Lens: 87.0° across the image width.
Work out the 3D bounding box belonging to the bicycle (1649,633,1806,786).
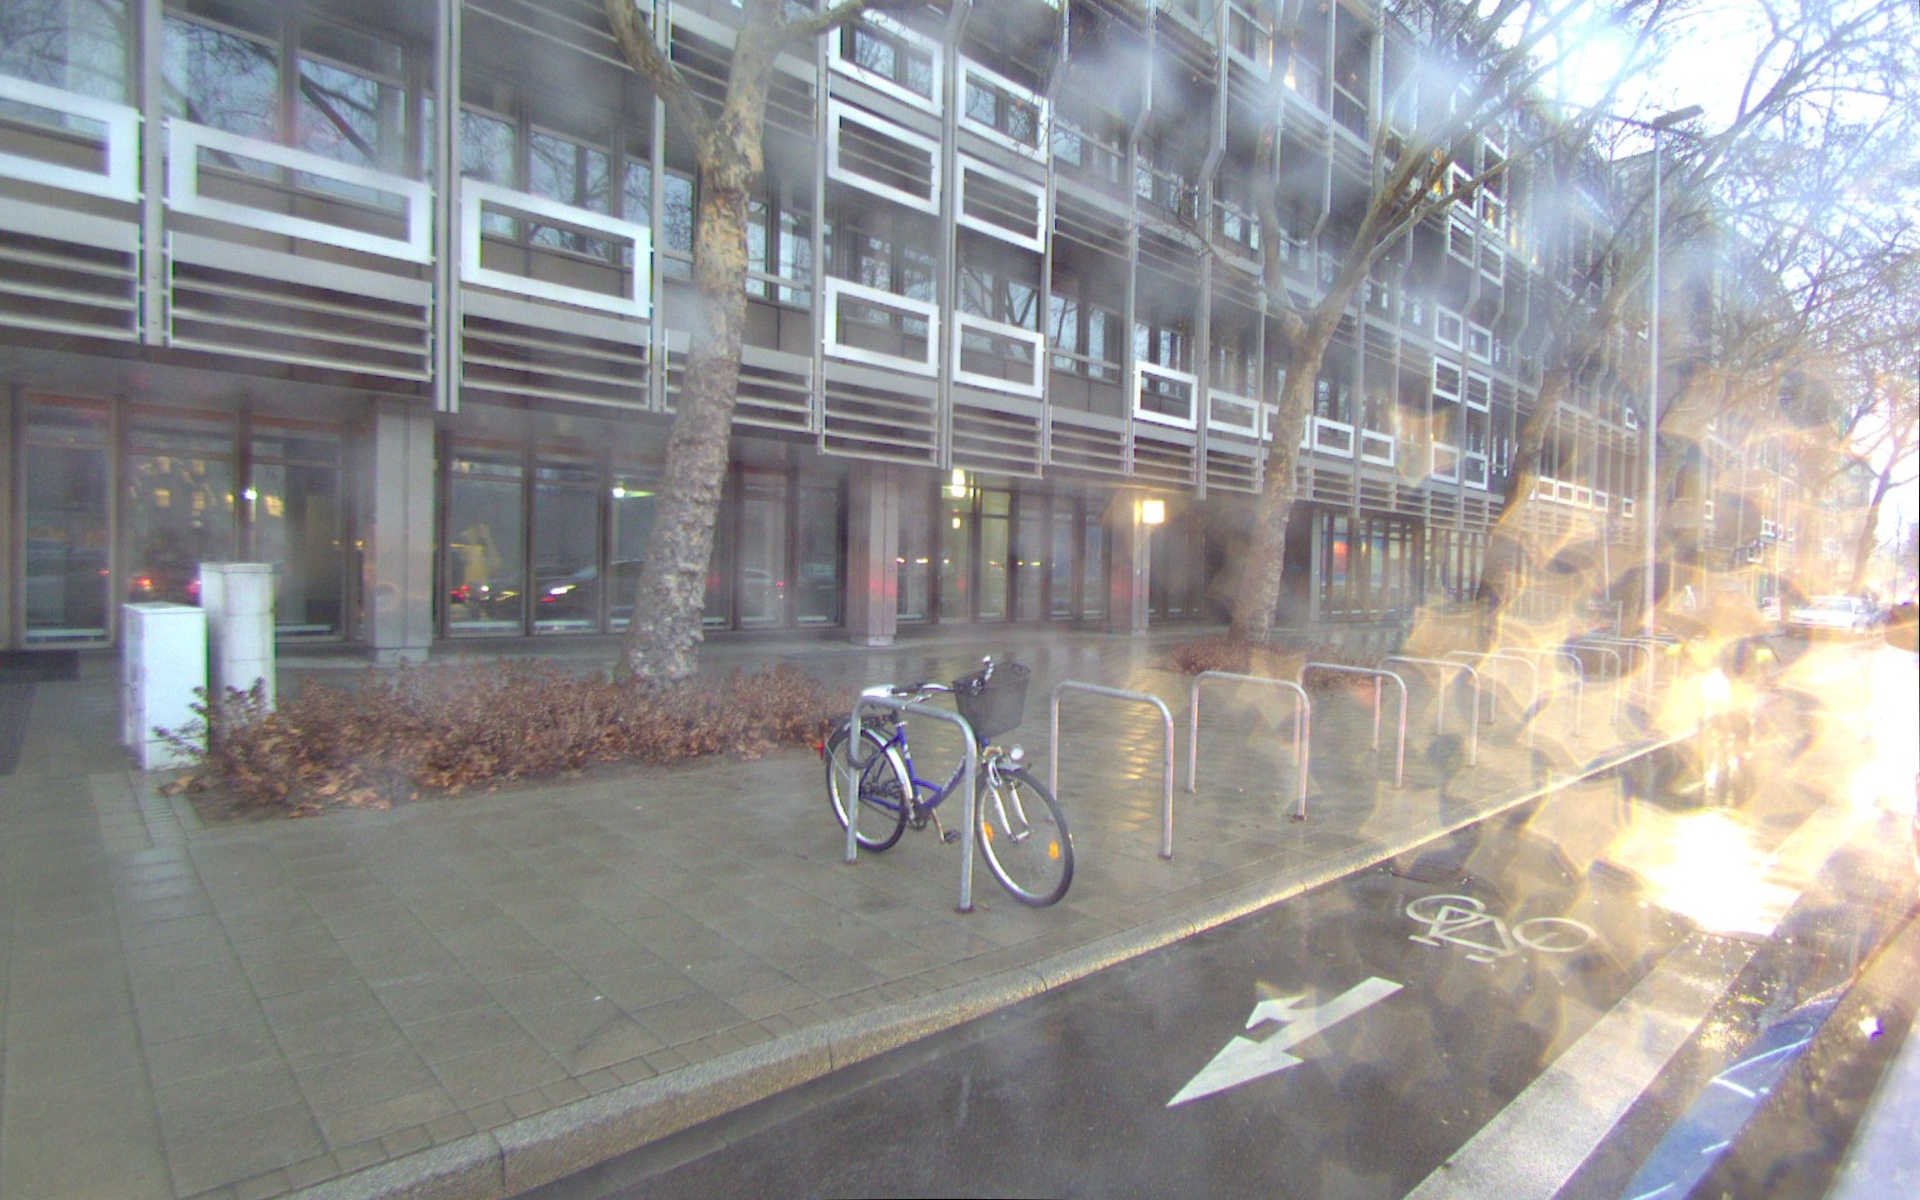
[{"bbox_3d":[6.511,0.862,8.553,1.752,1.108,0.709,1,0,-41],"label":"bicycle"}]

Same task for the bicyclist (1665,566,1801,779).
[{"bbox_3d":[6.536,0.564,8.558,0.947,1.681,0.704,1,1,-41],"label":"bicyclist"}]

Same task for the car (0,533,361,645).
[{"bbox_3d":[-10.701,-0.190,13.983,3.929,1.326,1.998,0,3,-40],"label":"car"}]

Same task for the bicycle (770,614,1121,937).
[{"bbox_3d":[-0.156,0.708,4.870,0.629,1.145,1.810,2,2,-41],"label":"bicycle"}]

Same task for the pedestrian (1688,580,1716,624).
[{"bbox_3d":[31.036,0.072,42.342,0.765,1.771,0.913,2,2,45],"label":"pedestrian"}]

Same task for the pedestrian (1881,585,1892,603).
[{"bbox_3d":[94.678,-0.641,103.393,0.765,1.771,0.913,2,2,45],"label":"pedestrian"}]

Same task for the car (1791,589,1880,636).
[{"bbox_3d":[29.357,0.380,33.907,3.930,1.482,1.711,-1,1,-41],"label":"car"}]

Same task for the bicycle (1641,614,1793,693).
[{"bbox_3d":[11.669,0.794,15.639,0.864,1.004,1.704,0,4,-41],"label":"bicycle"}]

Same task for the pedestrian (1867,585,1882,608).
[{"bbox_3d":[71.263,-0.262,78.887,0.765,1.771,0.913,2,2,45],"label":"pedestrian"}]

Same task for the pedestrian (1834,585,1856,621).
[{"bbox_3d":[44.660,0.146,51.062,0.765,1.771,0.913,2,2,45],"label":"pedestrian"}]

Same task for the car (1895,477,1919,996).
[{"bbox_3d":[5.476,0.474,4.333,3.933,1.864,1.875,-1,0,-43],"label":"car"}]
